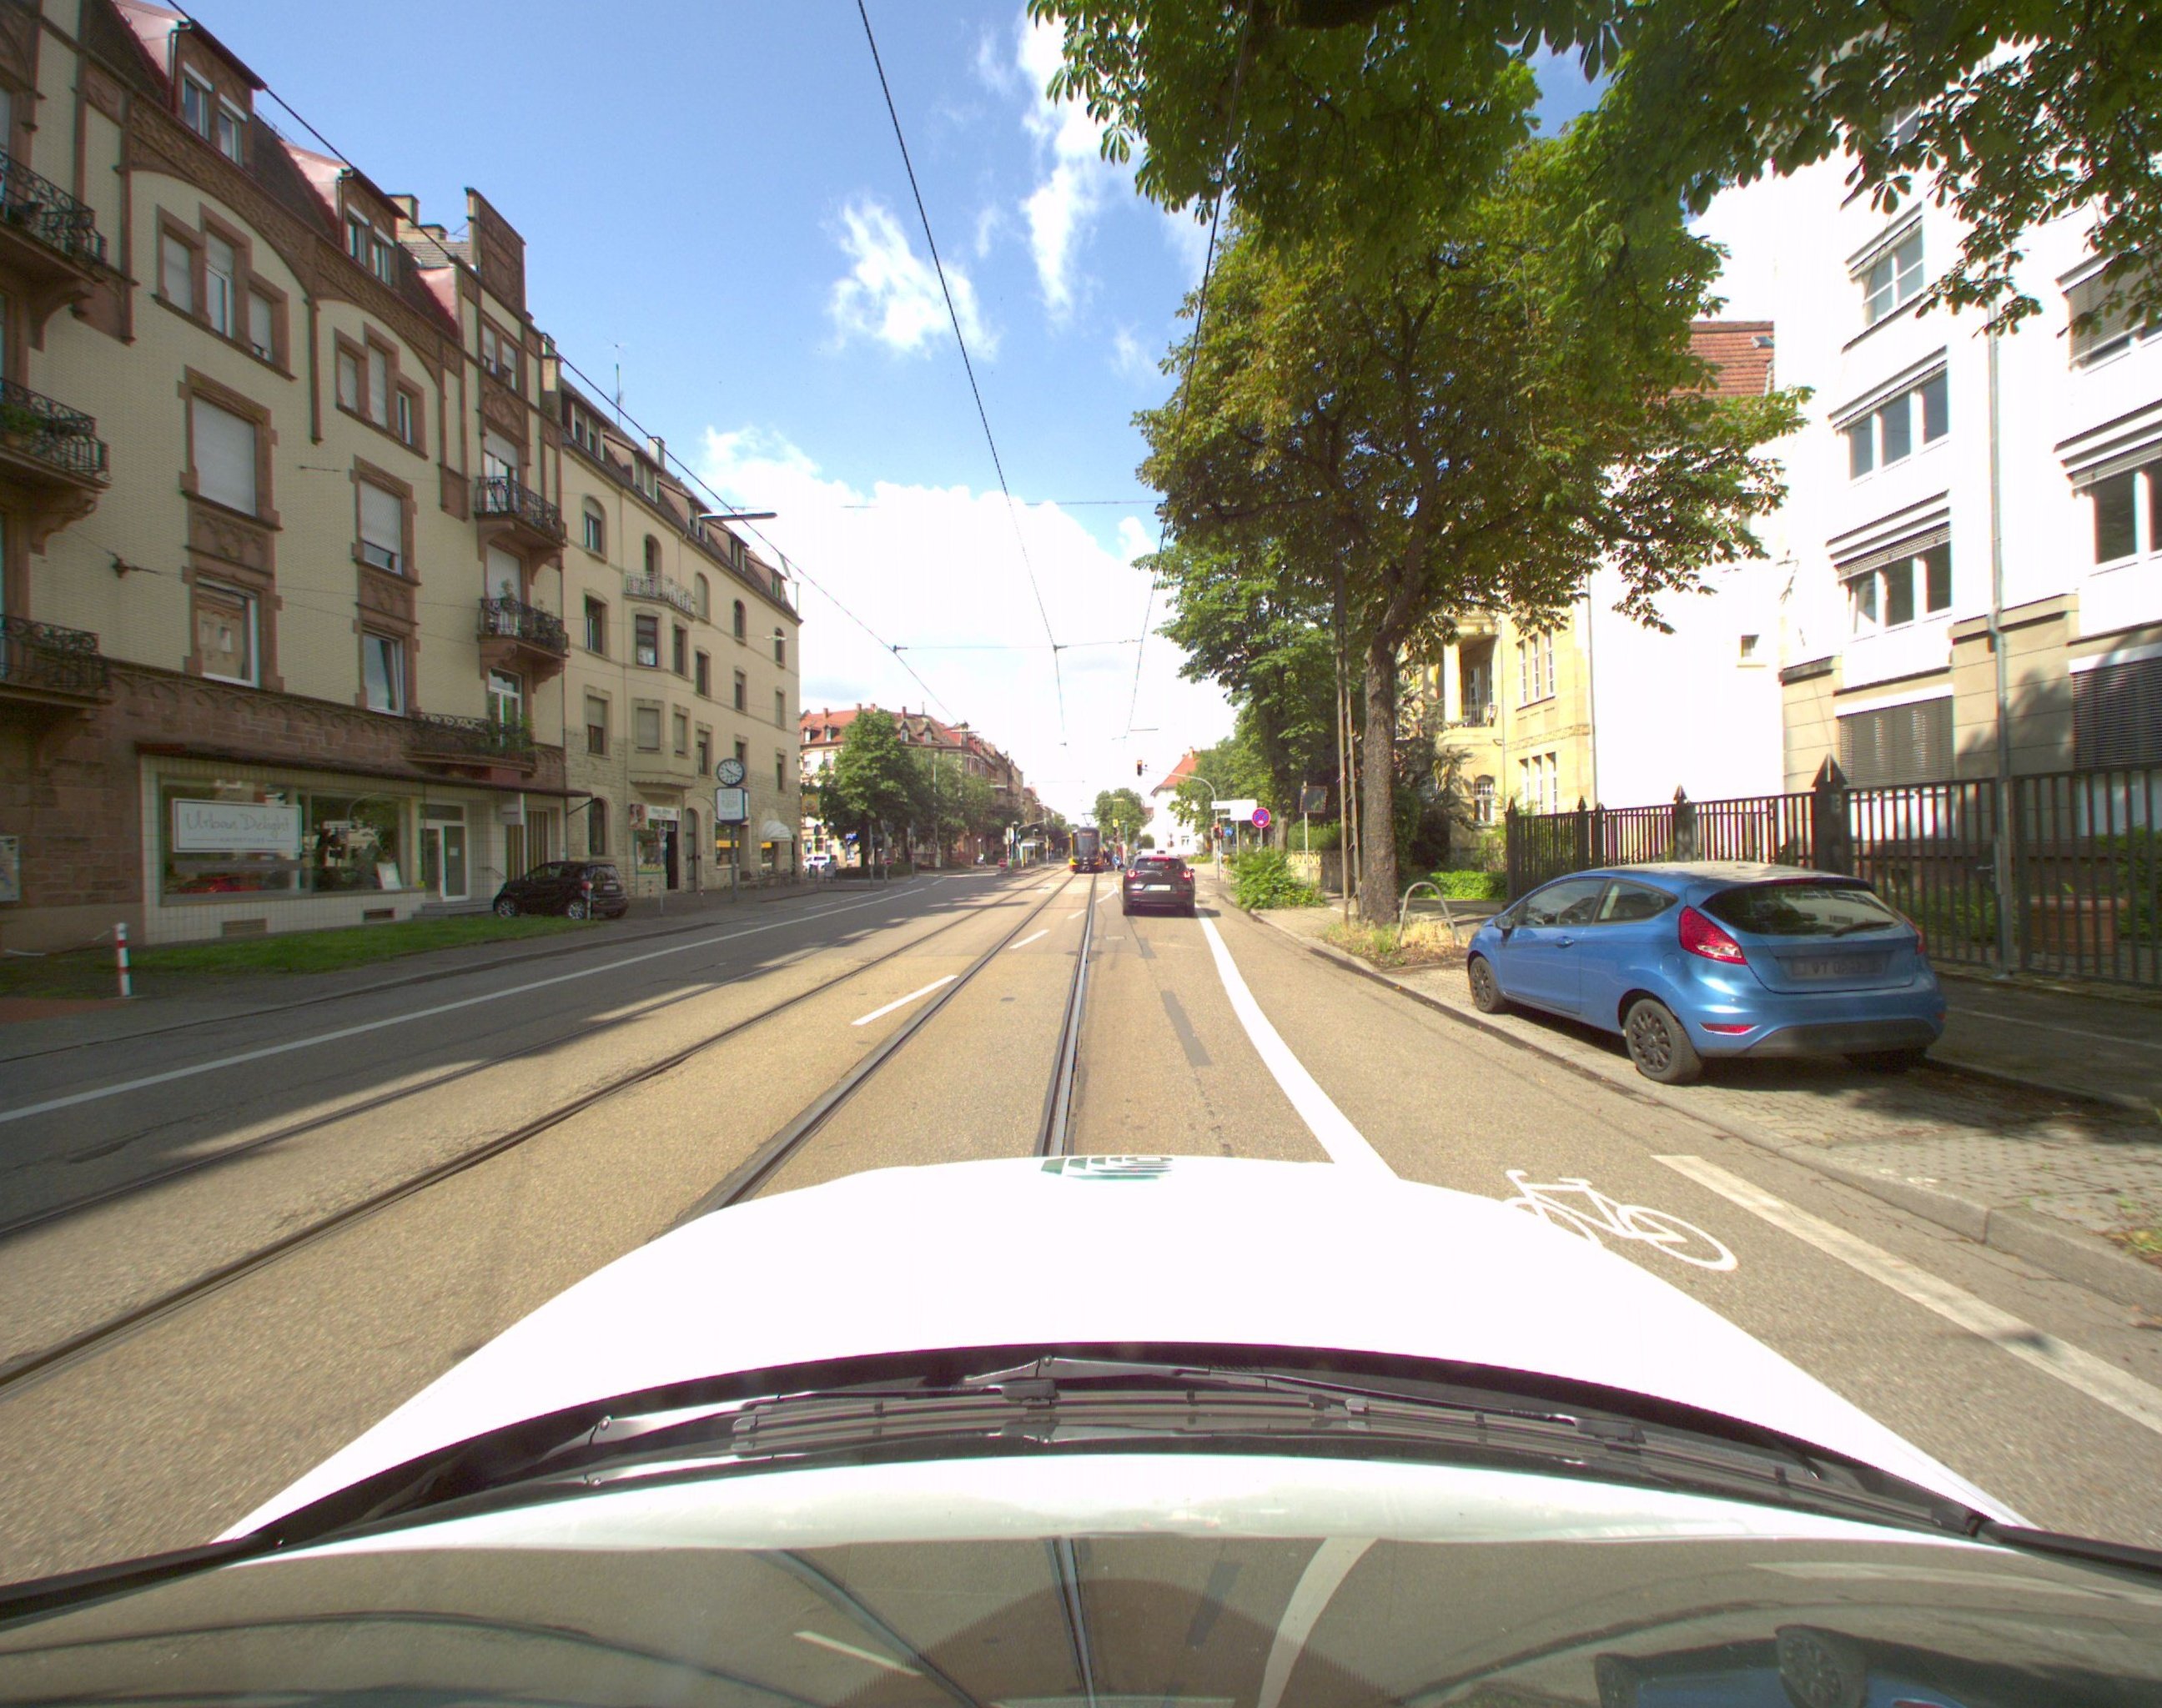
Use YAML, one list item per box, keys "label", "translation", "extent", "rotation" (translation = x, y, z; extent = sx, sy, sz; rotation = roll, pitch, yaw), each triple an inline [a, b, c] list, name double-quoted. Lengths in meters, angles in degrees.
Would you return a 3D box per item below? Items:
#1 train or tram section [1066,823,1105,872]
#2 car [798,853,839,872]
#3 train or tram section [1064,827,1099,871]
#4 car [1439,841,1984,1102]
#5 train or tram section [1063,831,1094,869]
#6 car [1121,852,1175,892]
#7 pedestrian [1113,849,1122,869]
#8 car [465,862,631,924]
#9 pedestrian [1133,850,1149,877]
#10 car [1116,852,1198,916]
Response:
- label: "train or tram section"
  translation: [0.228, -0.447, 63.887]
  extent: [2.645, 3.527, 8.490]
  rotation: [-2, 0, -2]
- label: "car"
  translation: [-31.650, 1.005, 98.300]
  extent: [4.094, 2.013, 2.006]
  rotation: [-5, 0, 10]
- label: "train or tram section"
  translation: [-0.046, -0.403, 72.407]
  extent: [2.645, 3.527, 8.490]
  rotation: [-2, 0, -2]
- label: "car"
  translation: [4.695, 0.714, 6.895]
  extent: [1.618, 1.496, 3.848]
  rotation: [-3, 0, 1]
- label: "train or tram section"
  translation: [-0.327, -0.346, 80.886]
  extent: [2.645, 3.527, 8.490]
  rotation: [-2, 0, -2]
- label: "car"
  translation: [2.797, 0.714, 34.972]
  extent: [1.780, 1.492, 4.880]
  rotation: [-2, 0, -1]
- label: "pedestrian"
  translation: [2.928, 0.381, 65.641]
  extent: [0.665, 1.605, 0.699]
  rotation: [-1, 0, -1]
- label: "car"
  translation: [-13.872, 0.987, 21.314]
  extent: [3.222, 1.513, 1.681]
  rotation: [0, 0, 4]
- label: "pedestrian"
  translation: [3.619, 0.593, 49.130]
  extent: [0.873, 1.605, 0.631]
  rotation: [-1, 0, -4]
- label: "car"
  translation: [1.915, 0.707, 21.622]
  extent: [1.784, 1.512, 4.350]
  rotation: [0, 0, 0]
